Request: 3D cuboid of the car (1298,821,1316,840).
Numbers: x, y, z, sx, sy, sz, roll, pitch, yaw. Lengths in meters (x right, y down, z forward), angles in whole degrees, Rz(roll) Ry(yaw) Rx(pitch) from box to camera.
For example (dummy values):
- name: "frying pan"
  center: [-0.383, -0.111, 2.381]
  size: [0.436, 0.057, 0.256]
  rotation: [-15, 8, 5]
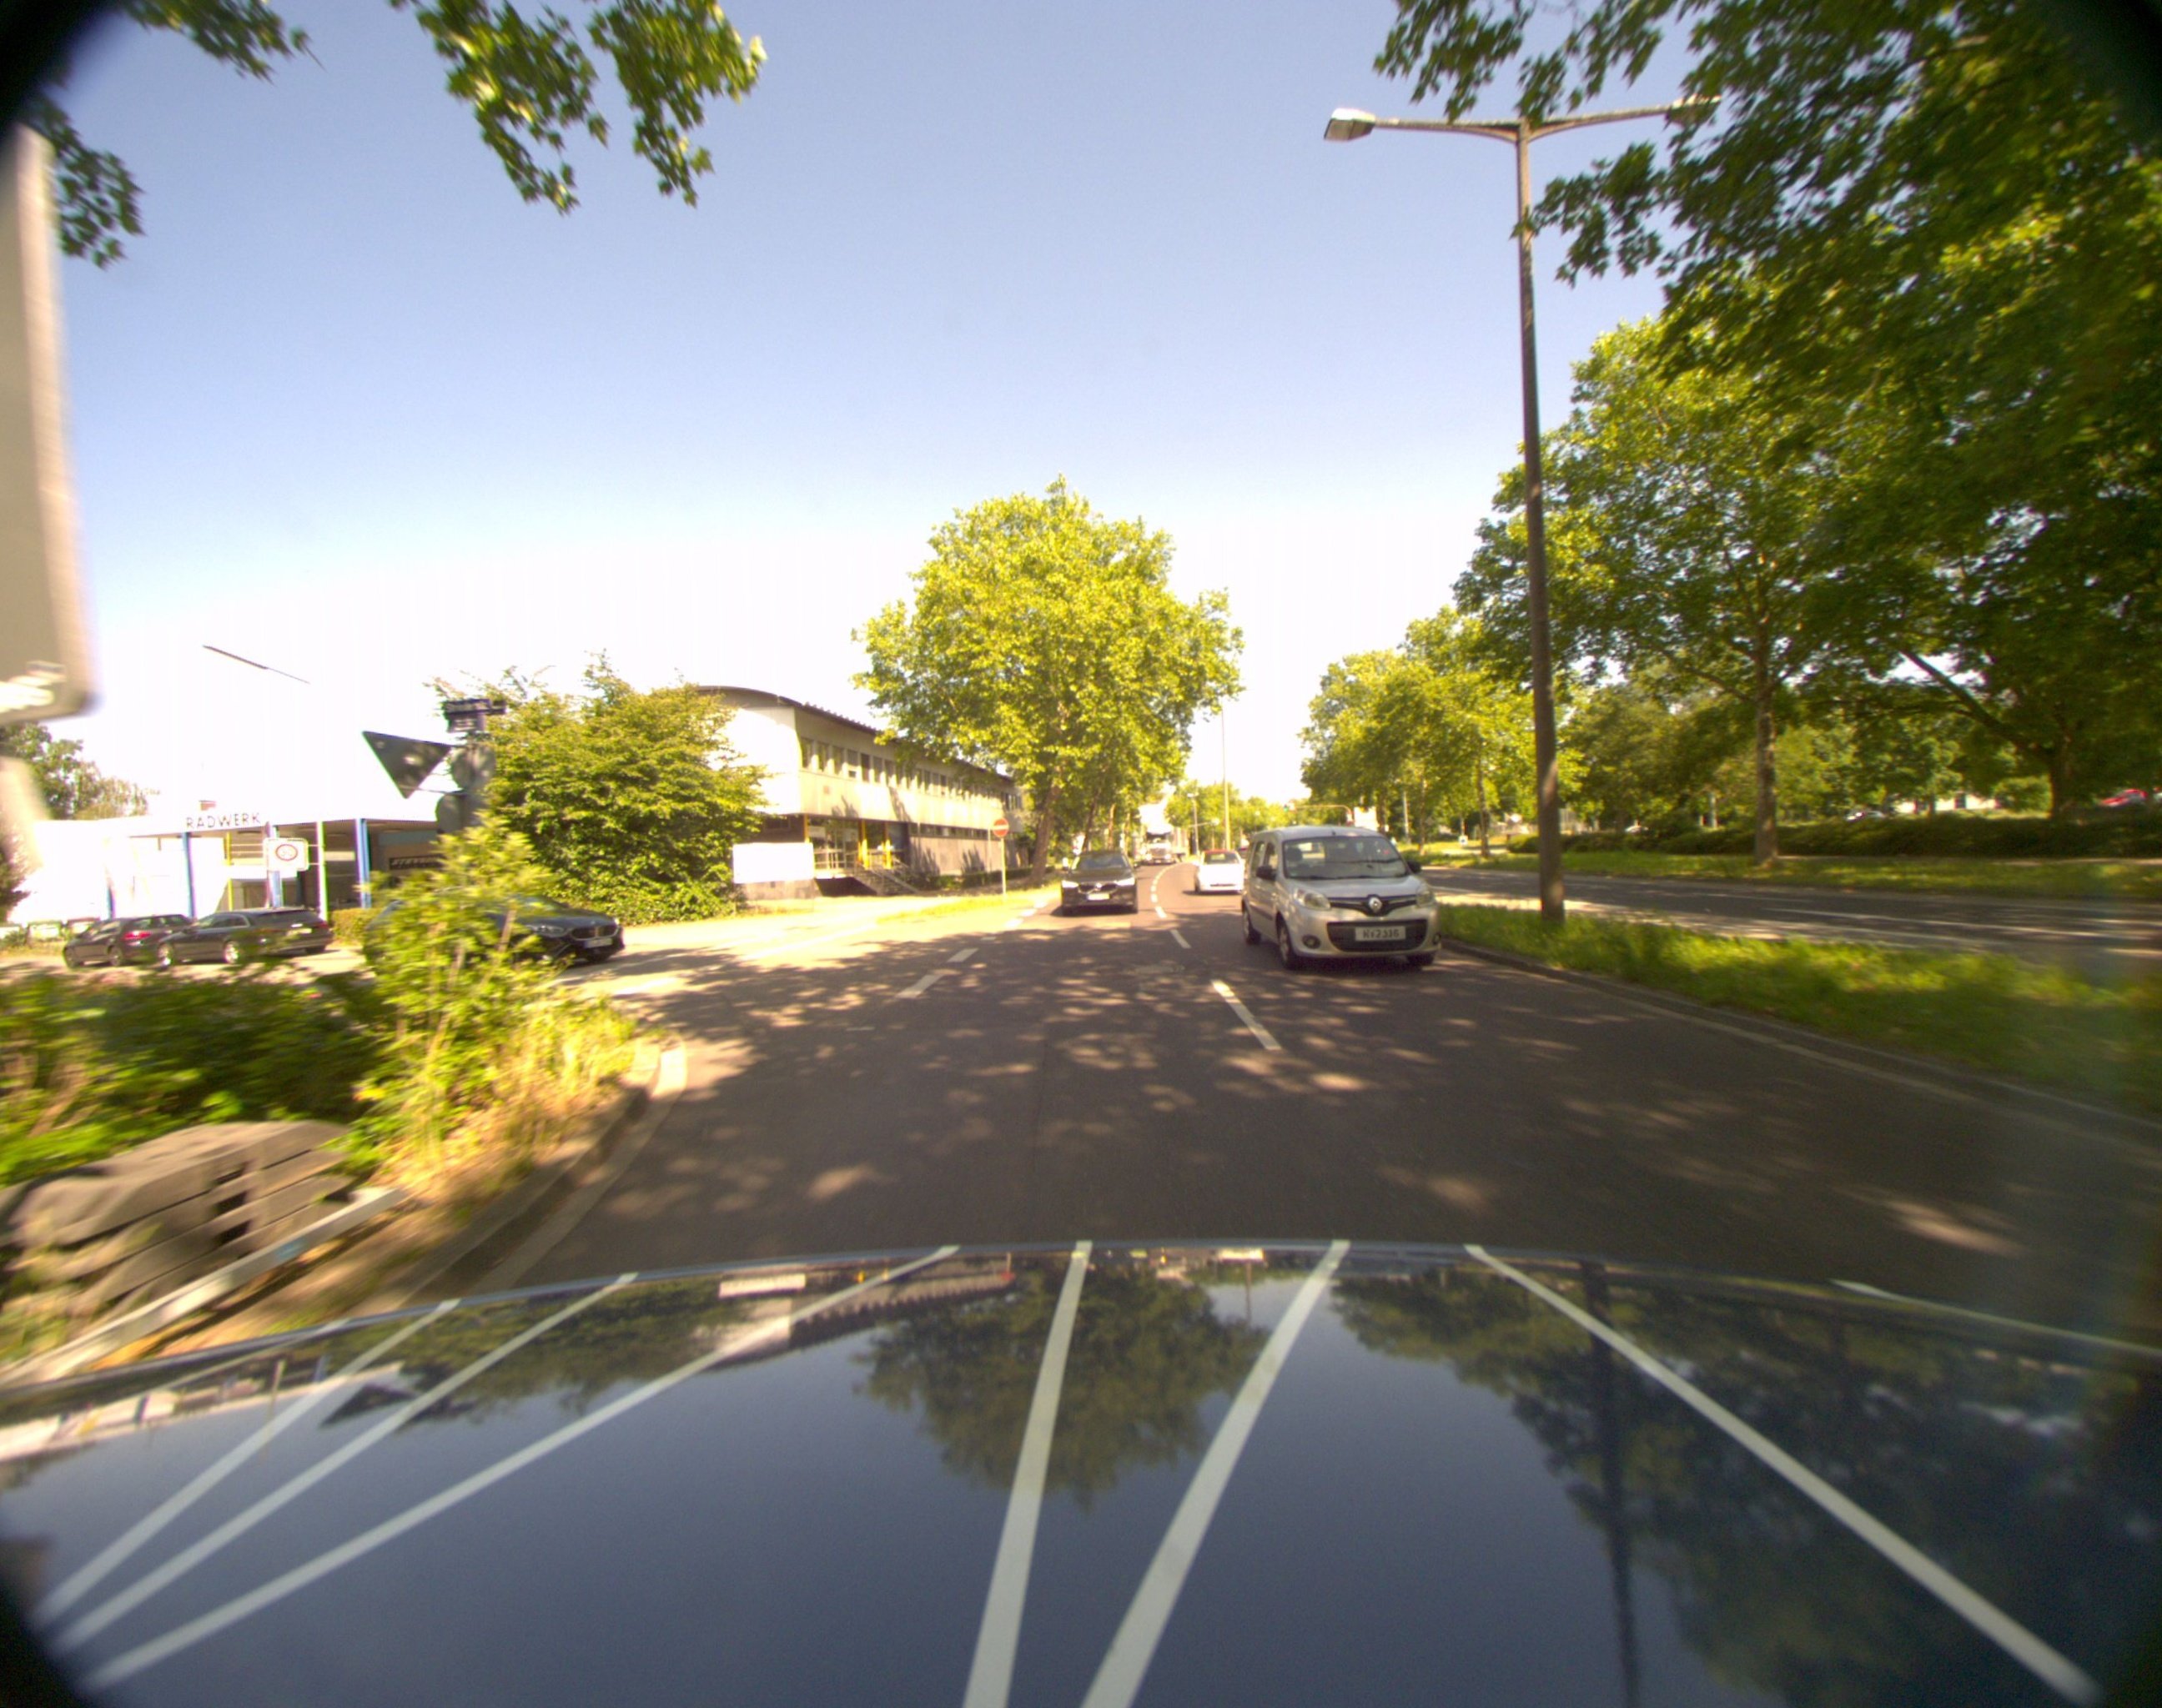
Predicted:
- name: "car"
  center: [33.228, -3.414, 111.706]
  size: [2.062, 2.598, 7.226]
  rotation: [-2, 1, 20]

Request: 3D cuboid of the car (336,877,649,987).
- name: "car"
  center: [-10.095, 1.317, 13.150]
  size: [4.254, 1.509, 2.002]
  rotation: [-4, 1, 15]

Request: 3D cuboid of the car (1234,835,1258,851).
- name: "car"
  center: [17.127, -1.134, 78.592]
  size: [1.696, 1.499, 4.135]
  rotation: [-3, 1, 22]

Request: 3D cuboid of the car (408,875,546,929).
- name: "car"
  center: [-22.729, 1.761, 28.709]
  size: [1.677, 1.652, 3.755]
  rotation: [-2, 1, 41]

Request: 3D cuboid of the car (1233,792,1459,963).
- name: "car"
  center: [3.304, 0.260, 10.417]
  size: [1.876, 1.829, 4.377]
  rotation: [-1, 0, 5]

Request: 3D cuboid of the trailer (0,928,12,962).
- name: "trailer"
  center: [-40.171, 3.351, 27.146]
  size: [3.220, 1.173, 1.600]
  rotation: [-4, 1, 23]

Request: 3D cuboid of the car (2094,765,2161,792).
- name: "car"
  center: [79.631, -5.716, 57.072]
  size: [1.818, 1.693, 3.976]
  rotation: [-4, 1, -44]

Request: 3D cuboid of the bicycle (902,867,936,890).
- name: "bicycle"
  center: [-8.512, 1.295, 39.978]
  size: [1.672, 1.124, 0.509]
  rotation: [-1, 2, 18]

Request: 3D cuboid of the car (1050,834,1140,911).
- name: "car"
  center: [0.400, 0.365, 19.297]
  size: [1.904, 1.606, 4.872]
  rotation: [-3, 1, 2]

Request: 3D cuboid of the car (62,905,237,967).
- name: "car"
  center: [-28.206, 2.472, 23.035]
  size: [3.992, 1.543, 2.003]
  rotation: [-4, -1, 18]

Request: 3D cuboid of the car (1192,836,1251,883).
- name: "car"
  center: [4.825, 0.158, 26.603]
  size: [1.688, 1.482, 4.377]
  rotation: [-1, 1, 6]

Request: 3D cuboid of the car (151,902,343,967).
- name: "car"
  center: [-22.820, 2.207, 20.830]
  size: [4.048, 1.390, 1.872]
  rotation: [-4, 2, 16]

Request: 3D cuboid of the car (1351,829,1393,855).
- name: "car"
  center: [18.479, -0.783, 48.474]
  size: [1.797, 1.547, 4.399]
  rotation: [-2, 1, 12]

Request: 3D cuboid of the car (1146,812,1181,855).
- name: "car"
  center: [8.251, -1.989, 75.393]
  size: [2.901, 3.898, 7.145]
  rotation: [-3, 1, 9]
